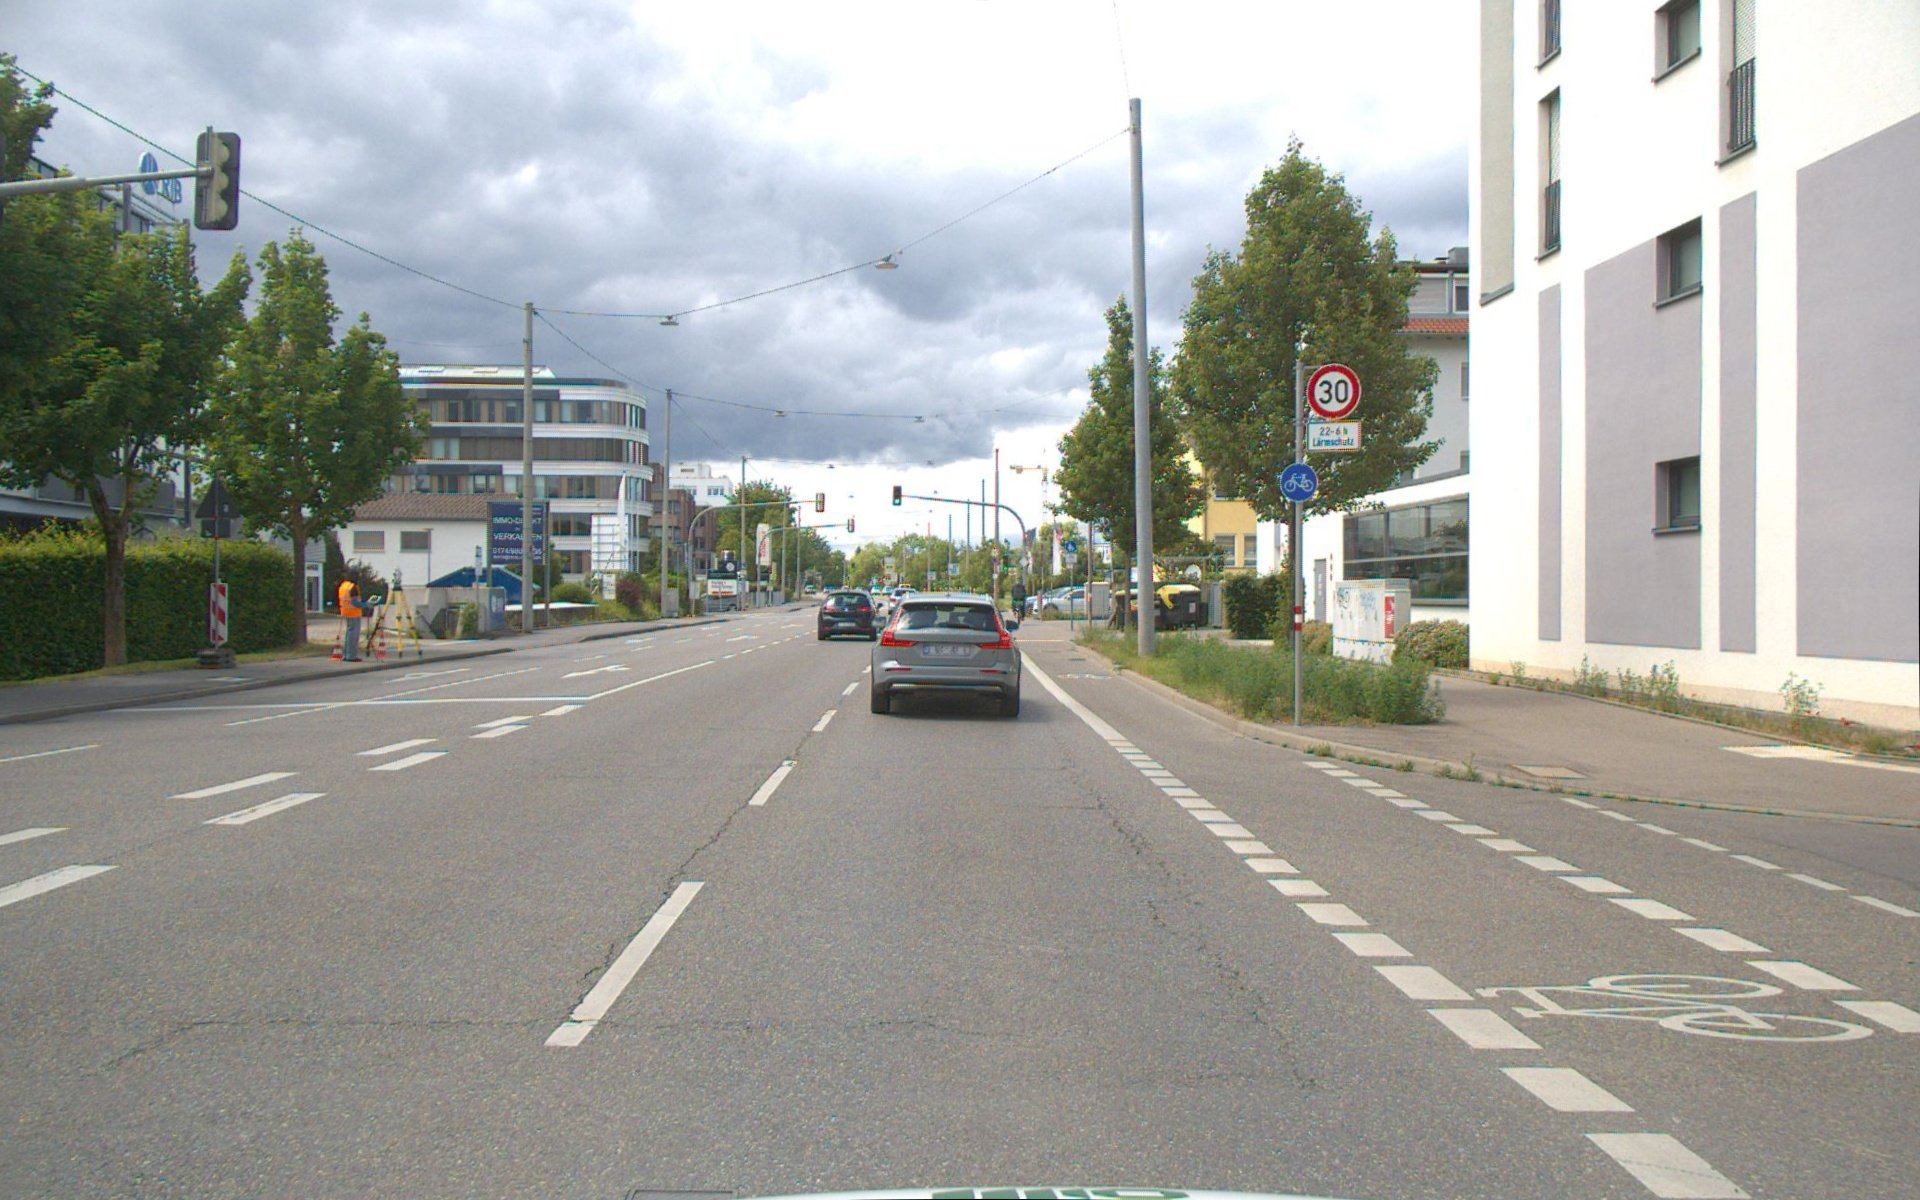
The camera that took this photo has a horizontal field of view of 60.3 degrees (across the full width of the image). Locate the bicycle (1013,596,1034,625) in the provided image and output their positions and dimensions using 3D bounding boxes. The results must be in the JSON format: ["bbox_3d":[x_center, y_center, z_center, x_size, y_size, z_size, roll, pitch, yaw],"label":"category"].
[{"bbox_3d":[2.435,0.396,63.655,0.625,1.081,1.977,-3,0,-1],"label":"bicycle"}]

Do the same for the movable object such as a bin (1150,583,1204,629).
[{"bbox_3d":[7.077,0.202,53.912,1.297,1.460,1.246,-1,-1,36],"label":"movable object such as a bin"}]

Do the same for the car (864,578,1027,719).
[{"bbox_3d":[-0.187,0.583,21.270,1.857,1.581,3.999,2,-1,-1],"label":"car"}]

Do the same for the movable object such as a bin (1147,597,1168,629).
[{"bbox_3d":[6.543,0.424,54.713,0.557,1.044,0.404,-1,-1,36],"label":"movable object such as a bin"}]

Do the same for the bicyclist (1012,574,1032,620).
[{"bbox_3d":[2.395,-0.111,63.846,0.625,1.704,0.890,-3,0,-1],"label":"bicyclist"}]

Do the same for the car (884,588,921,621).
[{"bbox_3d":[-3.216,0.276,93.011,1.953,1.724,3.998,2,-1,-2],"label":"car"}]

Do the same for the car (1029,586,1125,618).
[{"bbox_3d":[5.804,0.089,82.654,4.601,1.519,2.045,1,1,-2],"label":"car"}]

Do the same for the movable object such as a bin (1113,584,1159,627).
[{"bbox_3d":[5.705,0.194,53.598,1.291,1.385,1.252,0,-1,15],"label":"movable object such as a bin"}]

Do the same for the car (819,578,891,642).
[{"bbox_3d":[-3.068,0.291,48.678,1.954,1.747,3.997,2,-1,-3],"label":"car"}]

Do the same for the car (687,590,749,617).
[{"bbox_3d":[-16.517,0.239,113.007,4.018,1.421,1.905,-6,2,-8],"label":"car"}]

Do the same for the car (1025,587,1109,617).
[{"bbox_3d":[5.701,0.104,88.419,4.281,1.428,1.988,2,0,-3],"label":"car"}]

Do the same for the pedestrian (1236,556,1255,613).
[{"bbox_3d":[9.049,-0.484,52.445,0.496,1.796,0.501,2,-1,15],"label":"pedestrian"}]

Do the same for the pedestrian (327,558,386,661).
[{"bbox_3d":[-12.161,0.190,33.332,0.713,2.049,0.806,1,-1,42],"label":"pedestrian"}]
